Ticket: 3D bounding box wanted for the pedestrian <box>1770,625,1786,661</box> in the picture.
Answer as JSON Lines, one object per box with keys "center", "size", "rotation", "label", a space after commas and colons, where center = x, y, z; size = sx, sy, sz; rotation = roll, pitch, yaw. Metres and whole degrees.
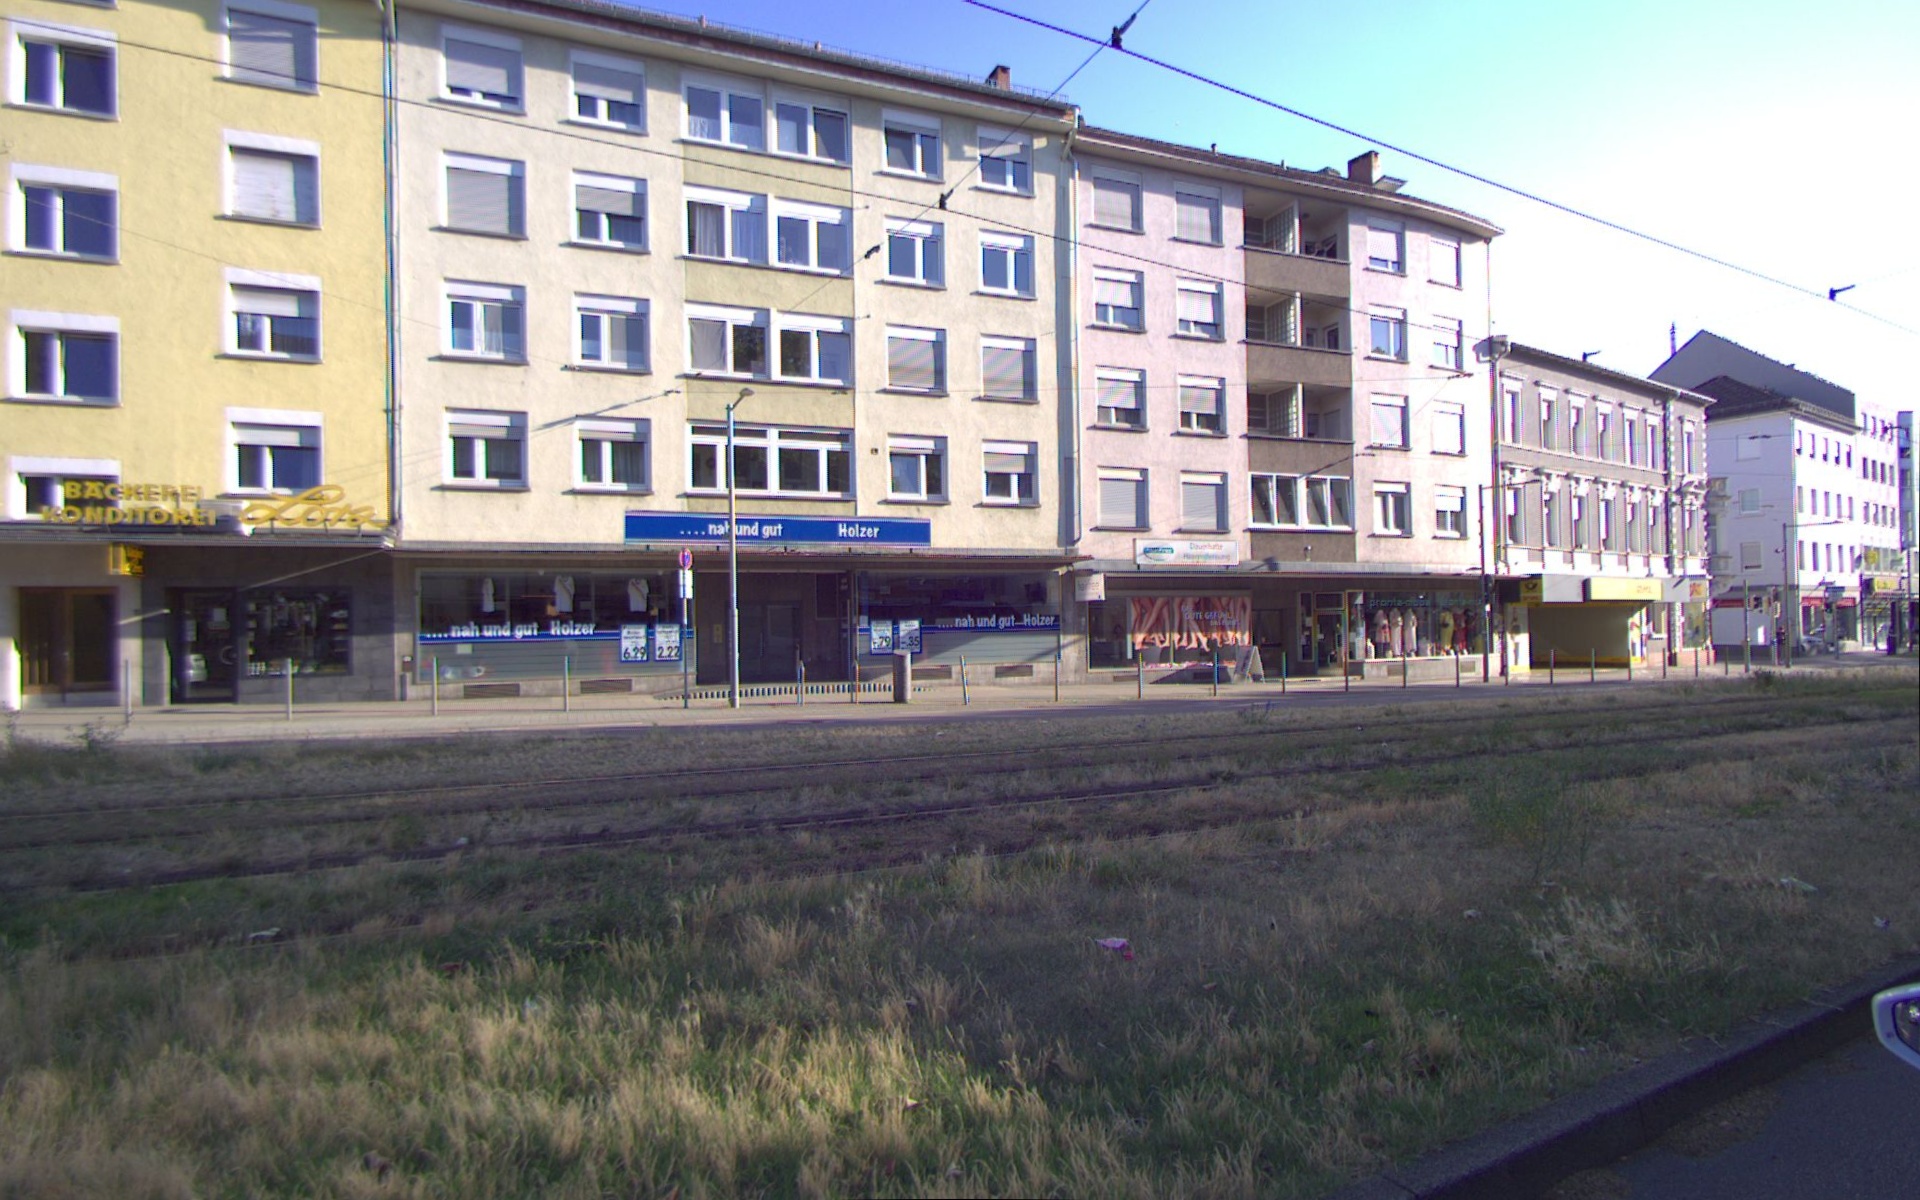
{"center": [39.501, 2.073, 48.489], "size": [0.501, 1.736, 0.424], "rotation": [1, -1, -26], "label": "pedestrian"}
